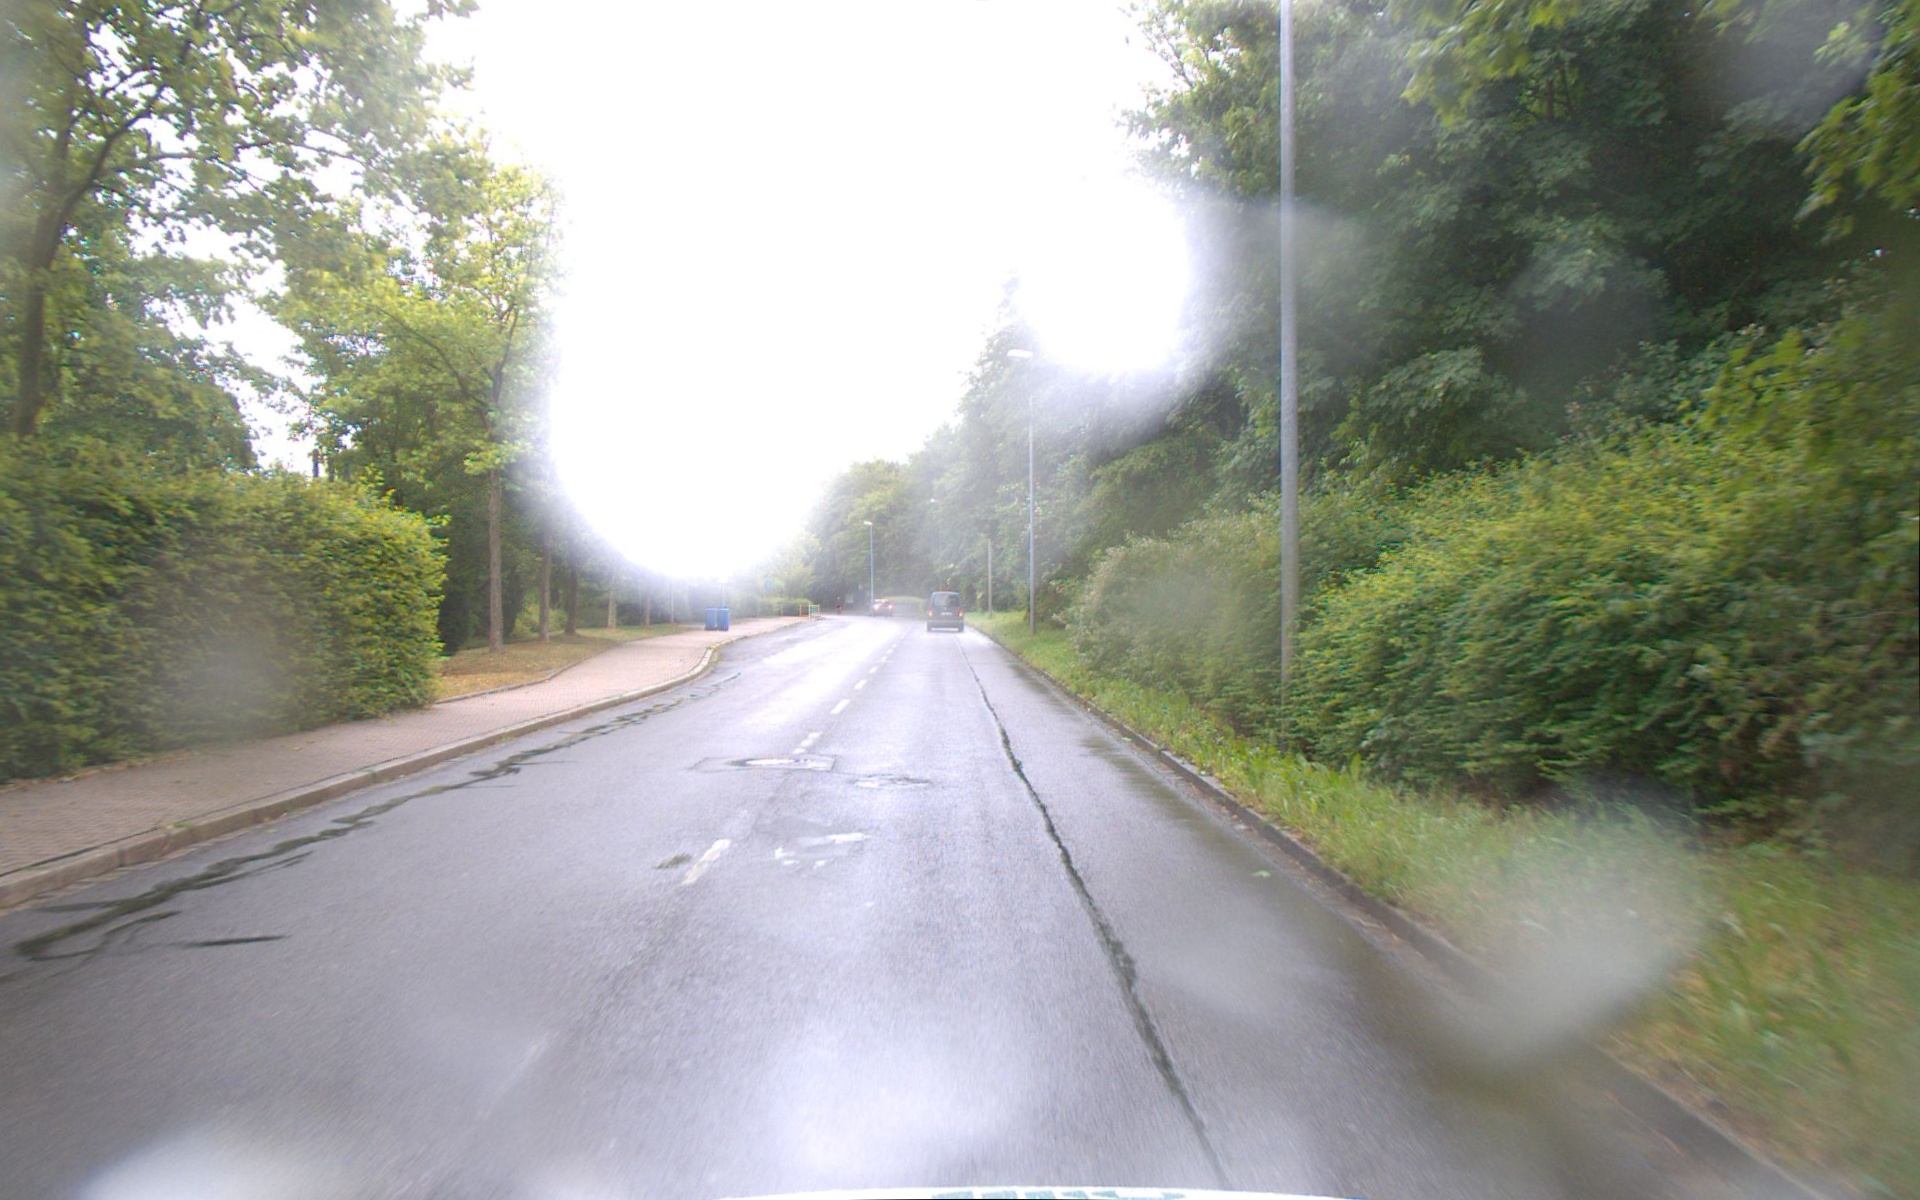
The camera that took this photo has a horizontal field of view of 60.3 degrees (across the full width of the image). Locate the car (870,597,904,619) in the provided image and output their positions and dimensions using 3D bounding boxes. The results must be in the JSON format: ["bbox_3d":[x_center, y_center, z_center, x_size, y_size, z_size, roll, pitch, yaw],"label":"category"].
[{"bbox_3d":[-6.093,0.652,137.694,1.961,1.803,3.983,-1,0,-16],"label":"car"}]

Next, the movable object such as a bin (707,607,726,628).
[{"bbox_3d":[-12.008,0.861,81.538,0.660,1.044,0.825,-2,0,-32],"label":"movable object such as a bin"}]

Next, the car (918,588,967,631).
[{"bbox_3d":[-0.839,0.408,78.347,1.955,1.825,3.996,2,1,-5],"label":"car"}]

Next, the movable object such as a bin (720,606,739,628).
[{"bbox_3d":[-11.423,0.833,81.930,0.660,1.044,0.825,-2,0,-32],"label":"movable object such as a bin"}]
